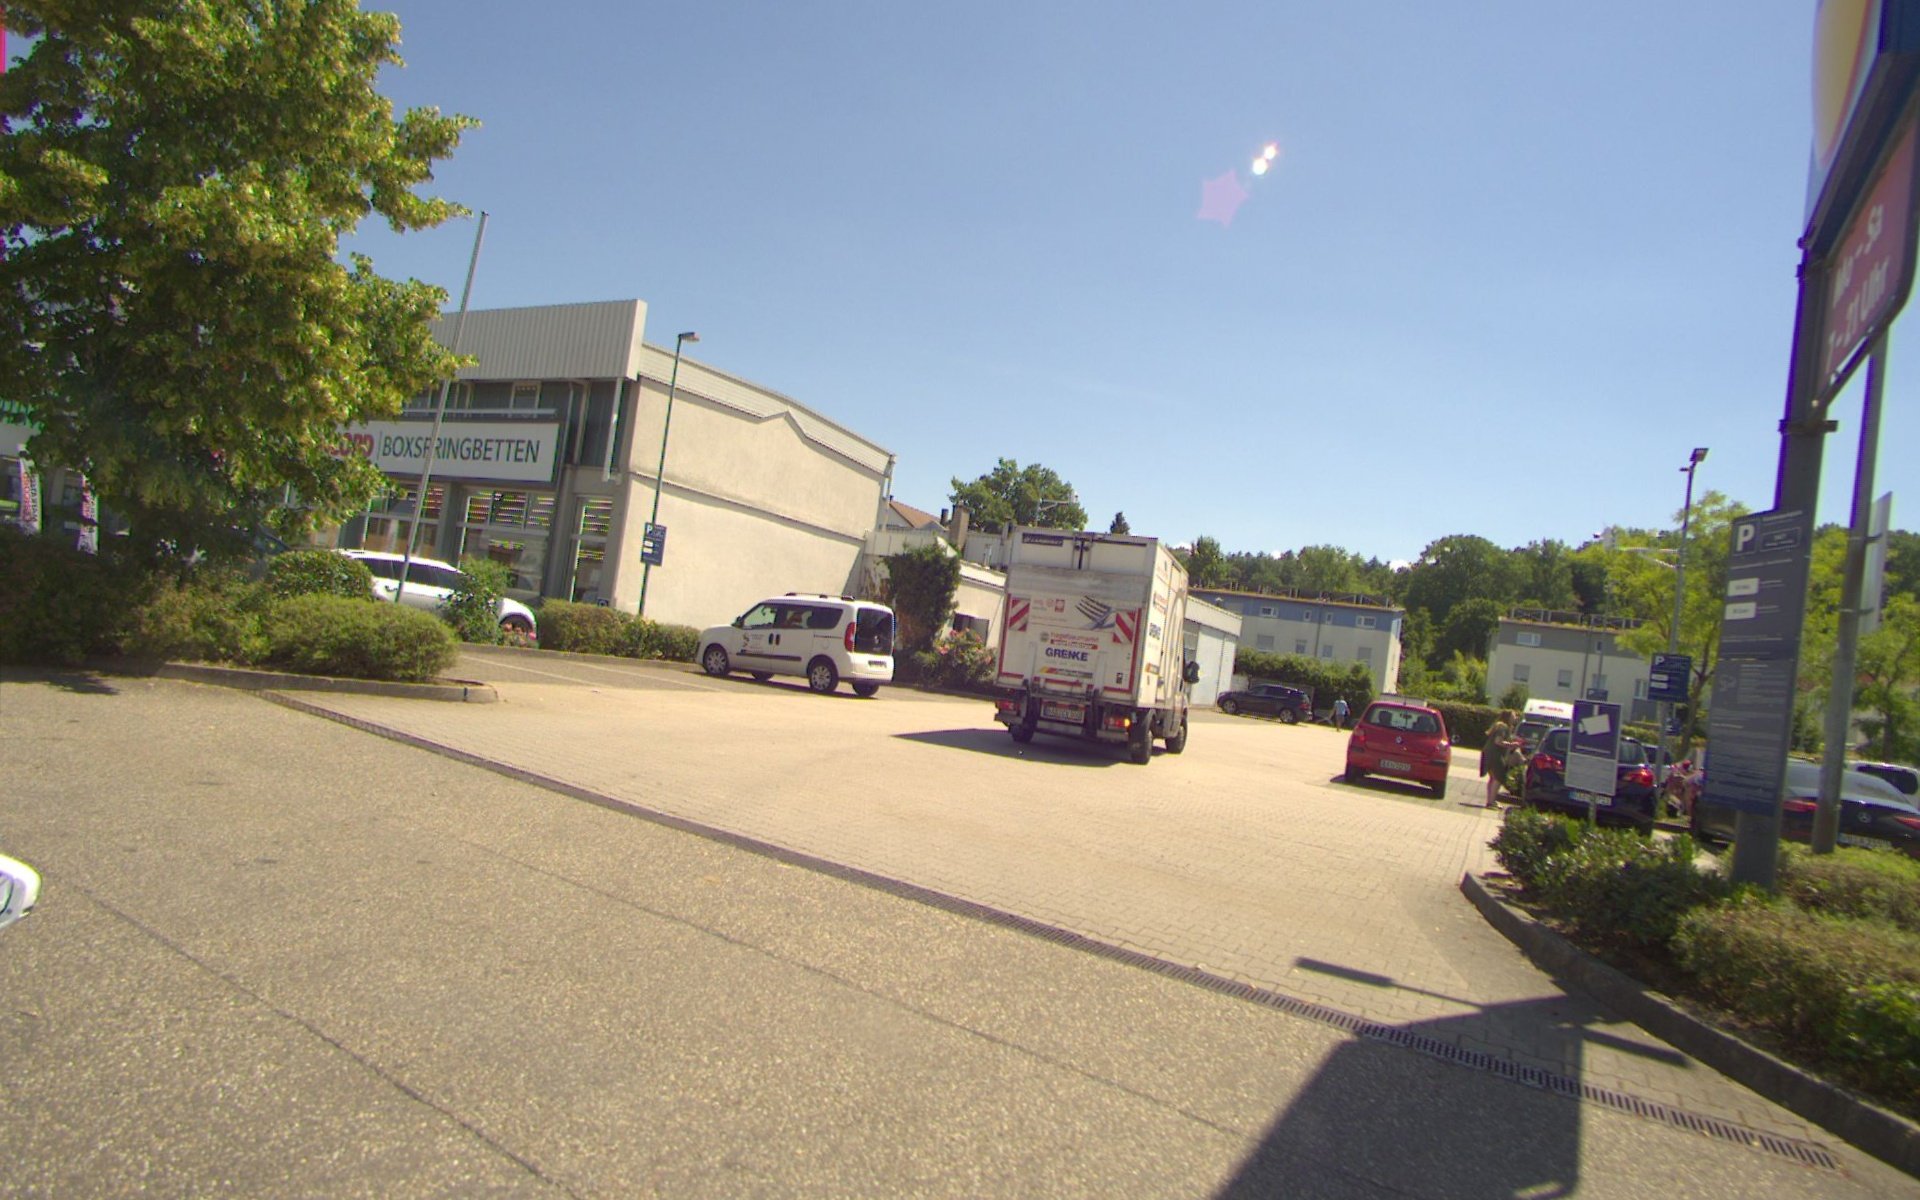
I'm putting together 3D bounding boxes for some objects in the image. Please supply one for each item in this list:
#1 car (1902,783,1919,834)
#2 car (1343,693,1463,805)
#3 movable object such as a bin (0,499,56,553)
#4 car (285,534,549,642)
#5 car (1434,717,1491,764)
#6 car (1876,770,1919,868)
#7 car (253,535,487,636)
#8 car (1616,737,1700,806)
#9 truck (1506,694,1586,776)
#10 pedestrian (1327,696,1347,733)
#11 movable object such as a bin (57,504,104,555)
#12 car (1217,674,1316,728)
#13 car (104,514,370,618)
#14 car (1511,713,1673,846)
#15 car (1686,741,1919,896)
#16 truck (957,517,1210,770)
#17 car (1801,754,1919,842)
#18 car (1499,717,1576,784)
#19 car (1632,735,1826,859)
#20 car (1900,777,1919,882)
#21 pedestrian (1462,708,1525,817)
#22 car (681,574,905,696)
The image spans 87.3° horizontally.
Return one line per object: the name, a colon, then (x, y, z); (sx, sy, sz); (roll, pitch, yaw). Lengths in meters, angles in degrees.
car: (26.644, 5.750, 26.689); (1.404, 1.337, 3.425); (7, -2, 28)
car: (8.023, 2.623, 18.217); (1.622, 1.548, 4.002); (7, -3, 25)
movable object such as a bin: (-27.995, -2.222, 29.828); (0.690, 1.441, 1.564); (8, 1, 33)
car: (-10.290, -0.179, 19.268); (1.780, 1.477, 3.983); (6, -2, 41)
car: (20.542, 5.693, 41.063); (1.716, 1.521, 3.604); (8, -1, 30)
car: (16.722, 3.758, 16.425); (1.716, 1.520, 3.606); (7, -3, 30)
car: (-12.318, -0.262, 21.166); (1.656, 1.551, 3.847); (6, -2, 44)
car: (20.275, 4.930, 29.344); (1.721, 1.578, 3.757); (7, -2, 33)
truck: (21.615, 4.952, 37.056); (2.143, 2.485, 5.482); (7, -3, 32)
pedestrian: (18.903, 5.731, 50.471); (0.668, 1.736, 0.706); (7, -1, 29)
movable object such as a bin: (-27.183, -2.174, 31.094); (0.691, 1.463, 0.853); (7, 1, 33)
car: (15.533, 5.112, 51.071); (4.278, 2.037, 1.998); (7, -2, 31)
car: (-16.388, -0.728, 22.965); (1.975, 1.661, 4.572); (6, -2, 45)
car: (9.991, 2.779, 16.185); (1.777, 1.580, 4.034); (7, -3, 29)
car: (11.626, 2.869, 13.858); (1.868, 1.407, 4.255); (7, -2, 27)
truck: (2.243, 0.793, 15.776); (2.377, 2.981, 5.961); (7, -3, 20)
car: (24.609, 5.314, 27.309); (1.745, 1.811, 3.998); (7, -2, 28)
car: (17.780, 4.567, 30.874); (1.625, 1.668, 3.867); (7, -2, 34)
car: (15.516, 3.862, 20.667); (1.965, 1.661, 5.529); (8, -1, 27)
car: (14.178, 3.305, 13.235); (1.699, 1.493, 4.028); (7, -3, 31)
pedestrian: (8.635, 2.603, 16.273); (0.695, 1.610, 0.679); (7, -1, 31)
car: (-3.464, 0.718, 20.764); (4.182, 1.912, 1.710); (7, -1, 27)
